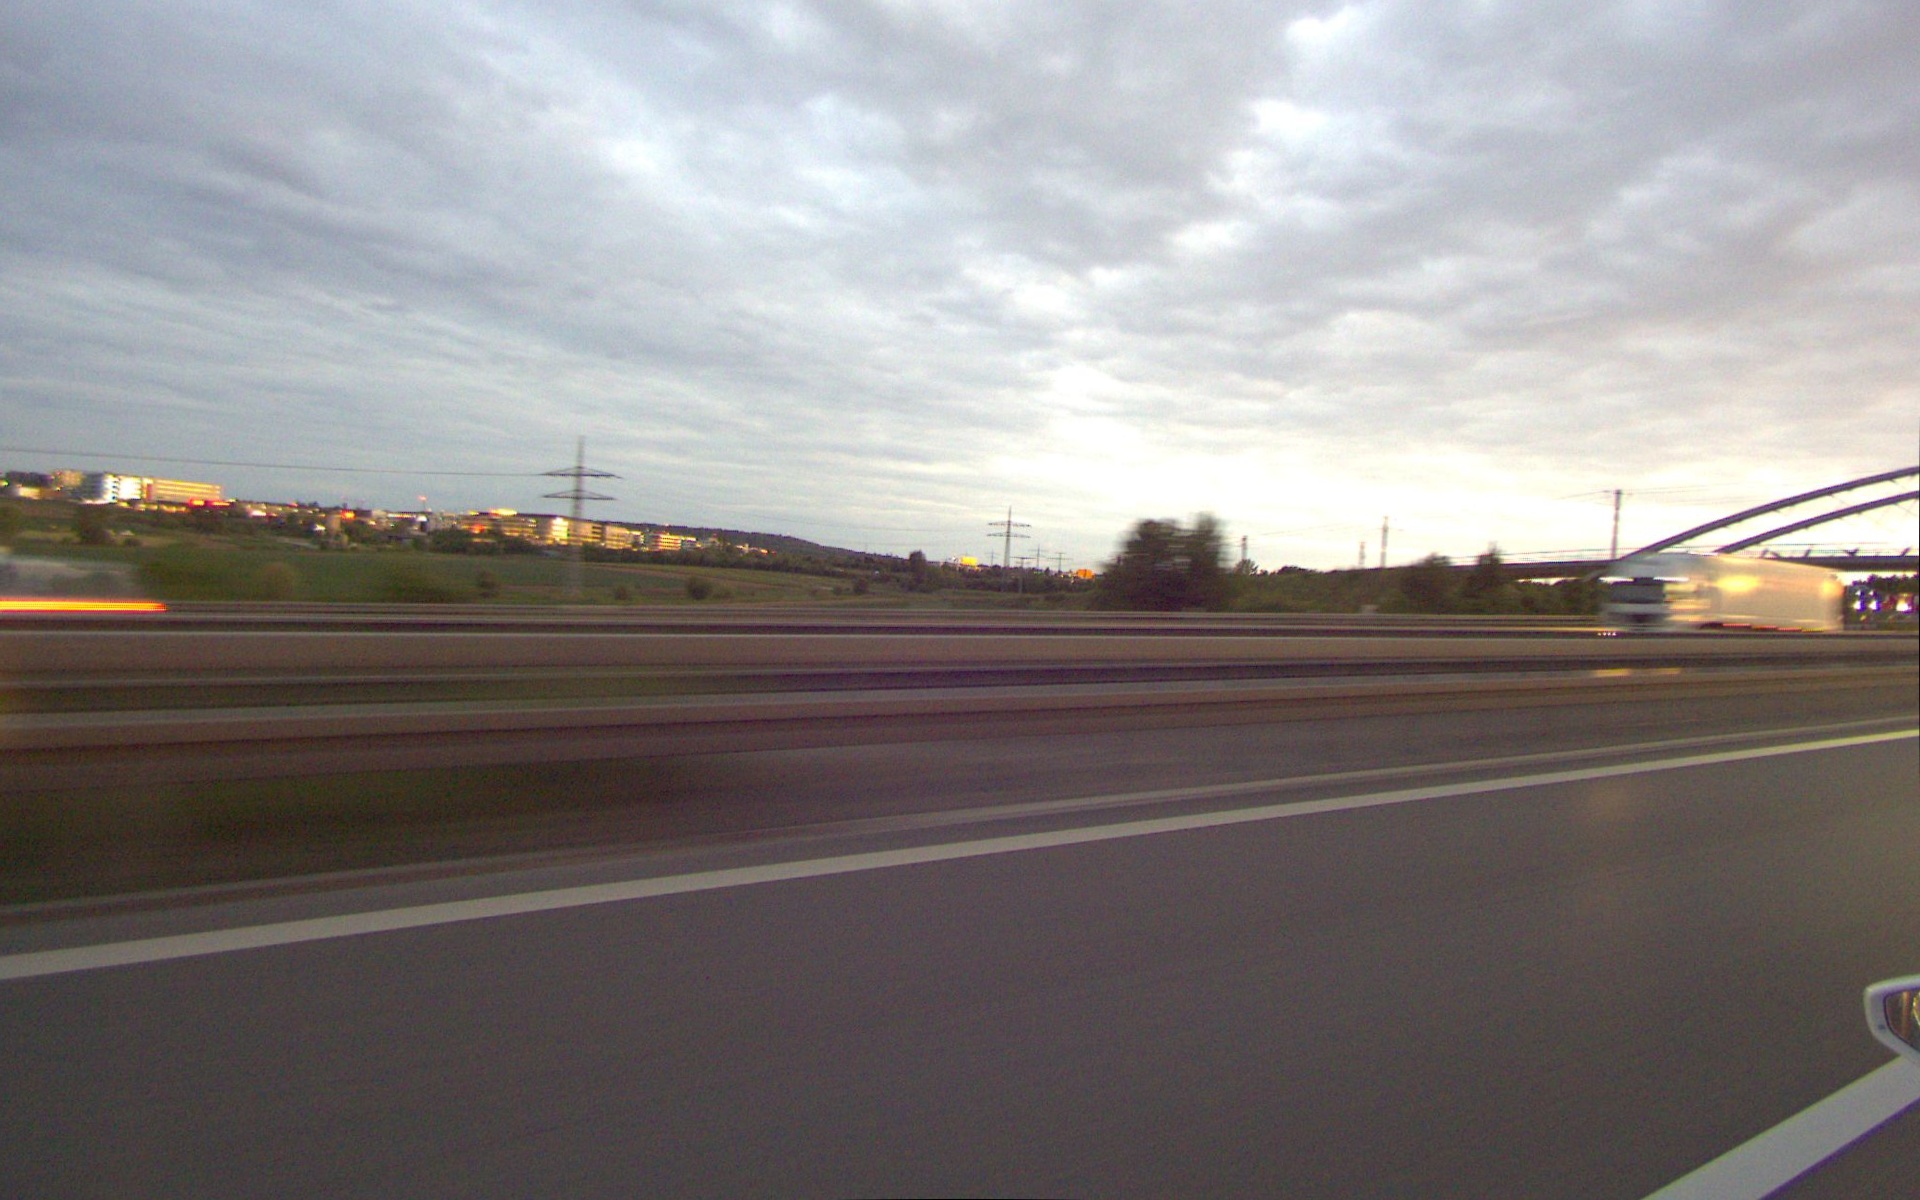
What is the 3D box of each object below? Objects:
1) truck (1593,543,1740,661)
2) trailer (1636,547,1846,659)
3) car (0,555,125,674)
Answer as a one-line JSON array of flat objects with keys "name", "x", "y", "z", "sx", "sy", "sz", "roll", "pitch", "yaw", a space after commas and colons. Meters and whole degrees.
[{"name": "truck", "x": 29.354, "y": 0.139, "z": 41.691, "sx": 6.175, "sy": 4.567, "sz": 2.809, "roll": 1, "pitch": 0, "yaw": -32}, {"name": "trailer", "x": 36.063, "y": 0.294, "z": 46.012, "sx": 14.466, "sy": 4.567, "sz": 2.809, "roll": 1, "pitch": 0, "yaw": -32}, {"name": "car", "x": -15.050, "y": 0.159, "z": 14.070, "sx": 4.783, "sy": 1.646, "sz": 1.985, "roll": 1, "pitch": 0, "yaw": -28}]
